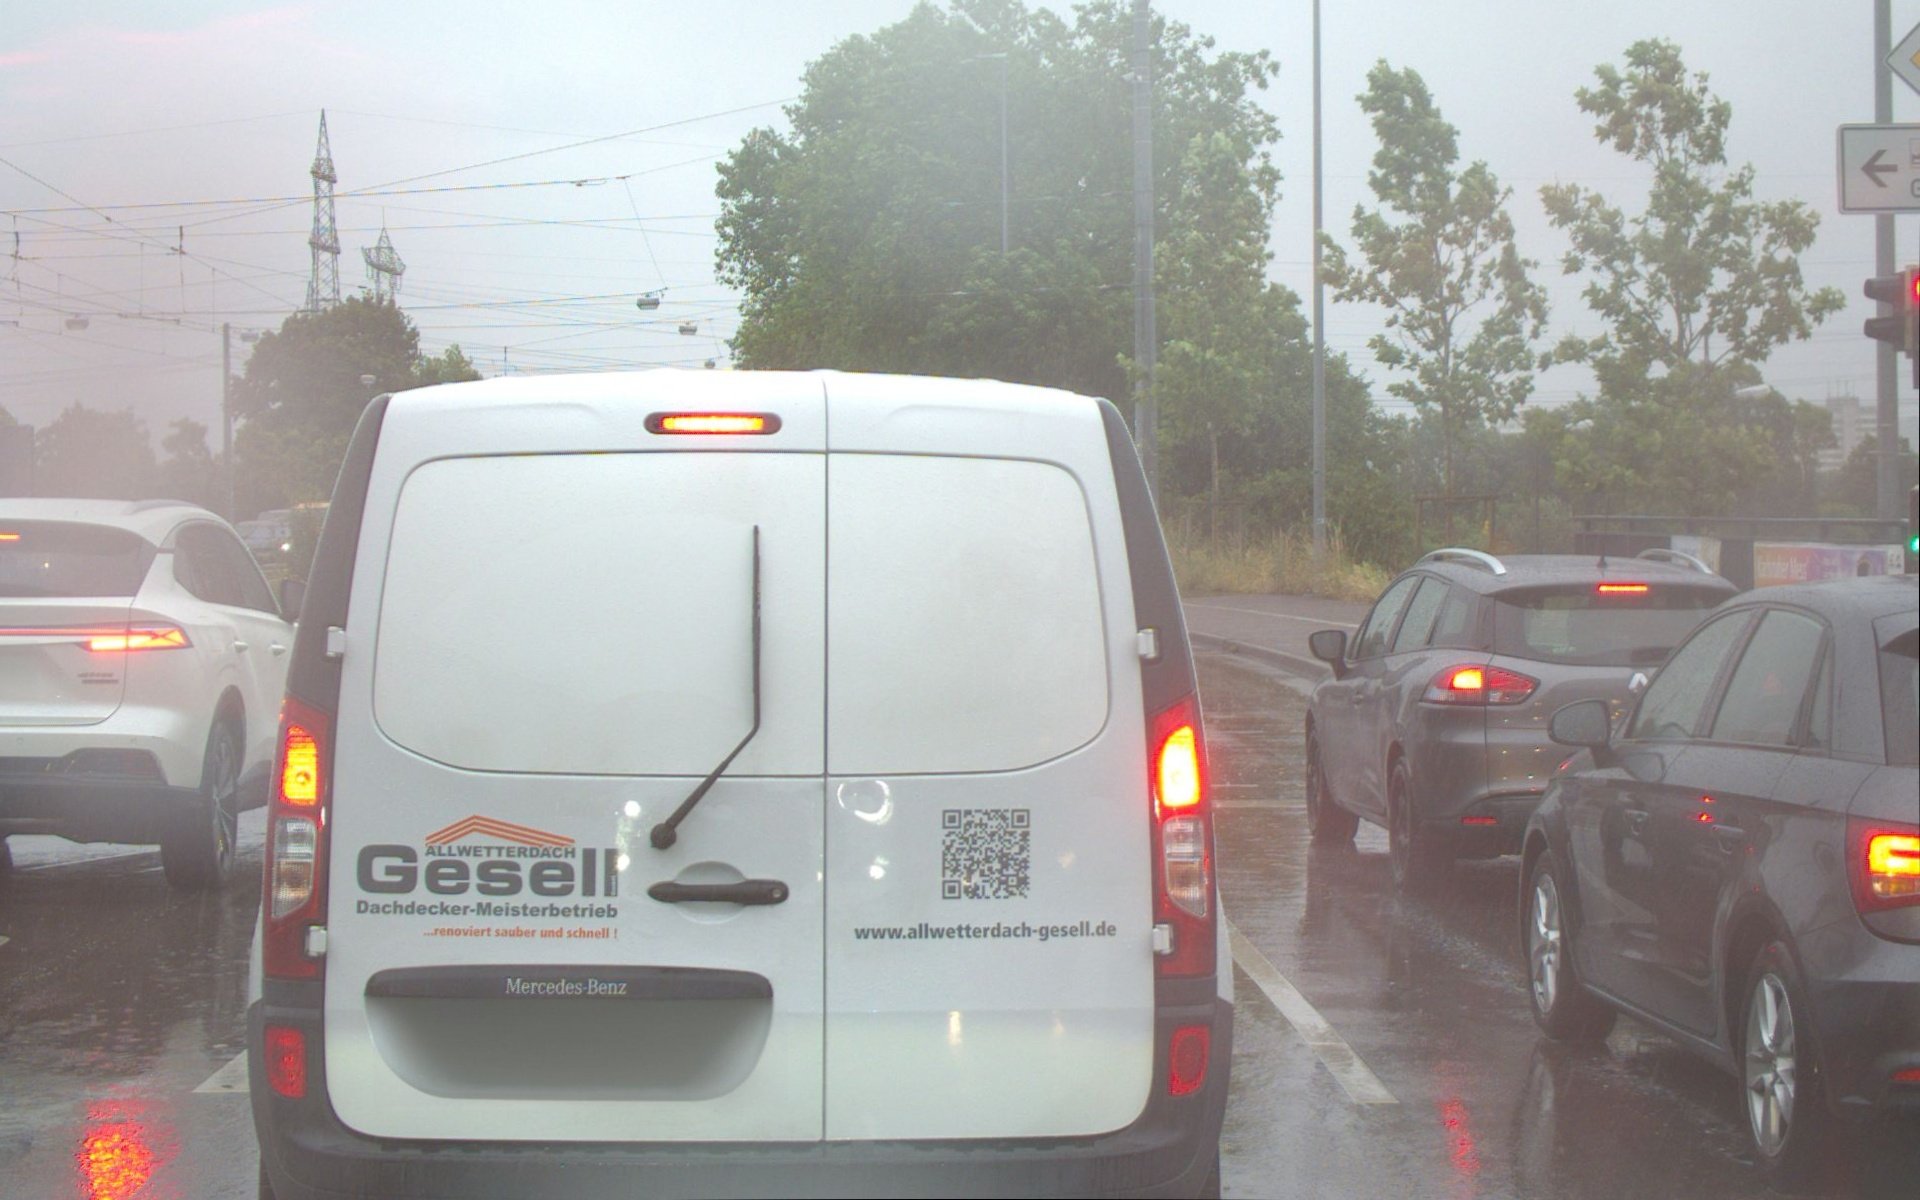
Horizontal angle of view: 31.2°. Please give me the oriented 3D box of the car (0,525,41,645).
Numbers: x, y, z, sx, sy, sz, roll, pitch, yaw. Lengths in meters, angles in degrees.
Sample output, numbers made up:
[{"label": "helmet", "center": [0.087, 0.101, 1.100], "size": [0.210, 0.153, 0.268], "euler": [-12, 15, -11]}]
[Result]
[{"label": "car", "center": [-13.108, -0.241, 40.284], "size": [1.650, 1.423, 4.241], "euler": [3, 1, 44]}]

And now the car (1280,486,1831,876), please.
[{"label": "car", "center": [2.530, 0.293, 15.501], "size": [1.684, 1.503, 3.921], "euler": [1, 1, -1]}]

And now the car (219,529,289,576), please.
[{"label": "car", "center": [-23.131, -1.542, 112.763], "size": [1.559, 1.421, 3.569], "euler": [2, 0, -1]}]

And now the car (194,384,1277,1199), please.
[{"label": "car", "center": [-0.509, 0.467, 7.698], "size": [1.754, 1.744, 4.170], "euler": [1, 2, -4]}]

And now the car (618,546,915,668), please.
[{"label": "car", "center": [-2.544, 0.104, 45.804], "size": [3.733, 1.502, 1.650], "euler": [2, 1, -44]}]

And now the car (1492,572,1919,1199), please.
[{"label": "car", "center": [2.507, 0.623, 8.925], "size": [1.597, 1.362, 3.631], "euler": [-1, 0, -1]}]

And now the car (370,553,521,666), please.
[{"label": "car", "center": [-7.610, 0.119, 51.135], "size": [1.634, 1.517, 3.775], "euler": [3, 0, -1]}]

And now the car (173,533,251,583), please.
[{"label": "car", "center": [-22.528, -1.245, 103.668], "size": [1.559, 1.421, 3.569], "euler": [2, 0, -1]}]

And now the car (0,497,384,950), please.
[{"label": "car", "center": [-4.002, 0.441, 15.843], "size": [1.930, 1.769, 4.664], "euler": [1, 1, -1]}]
